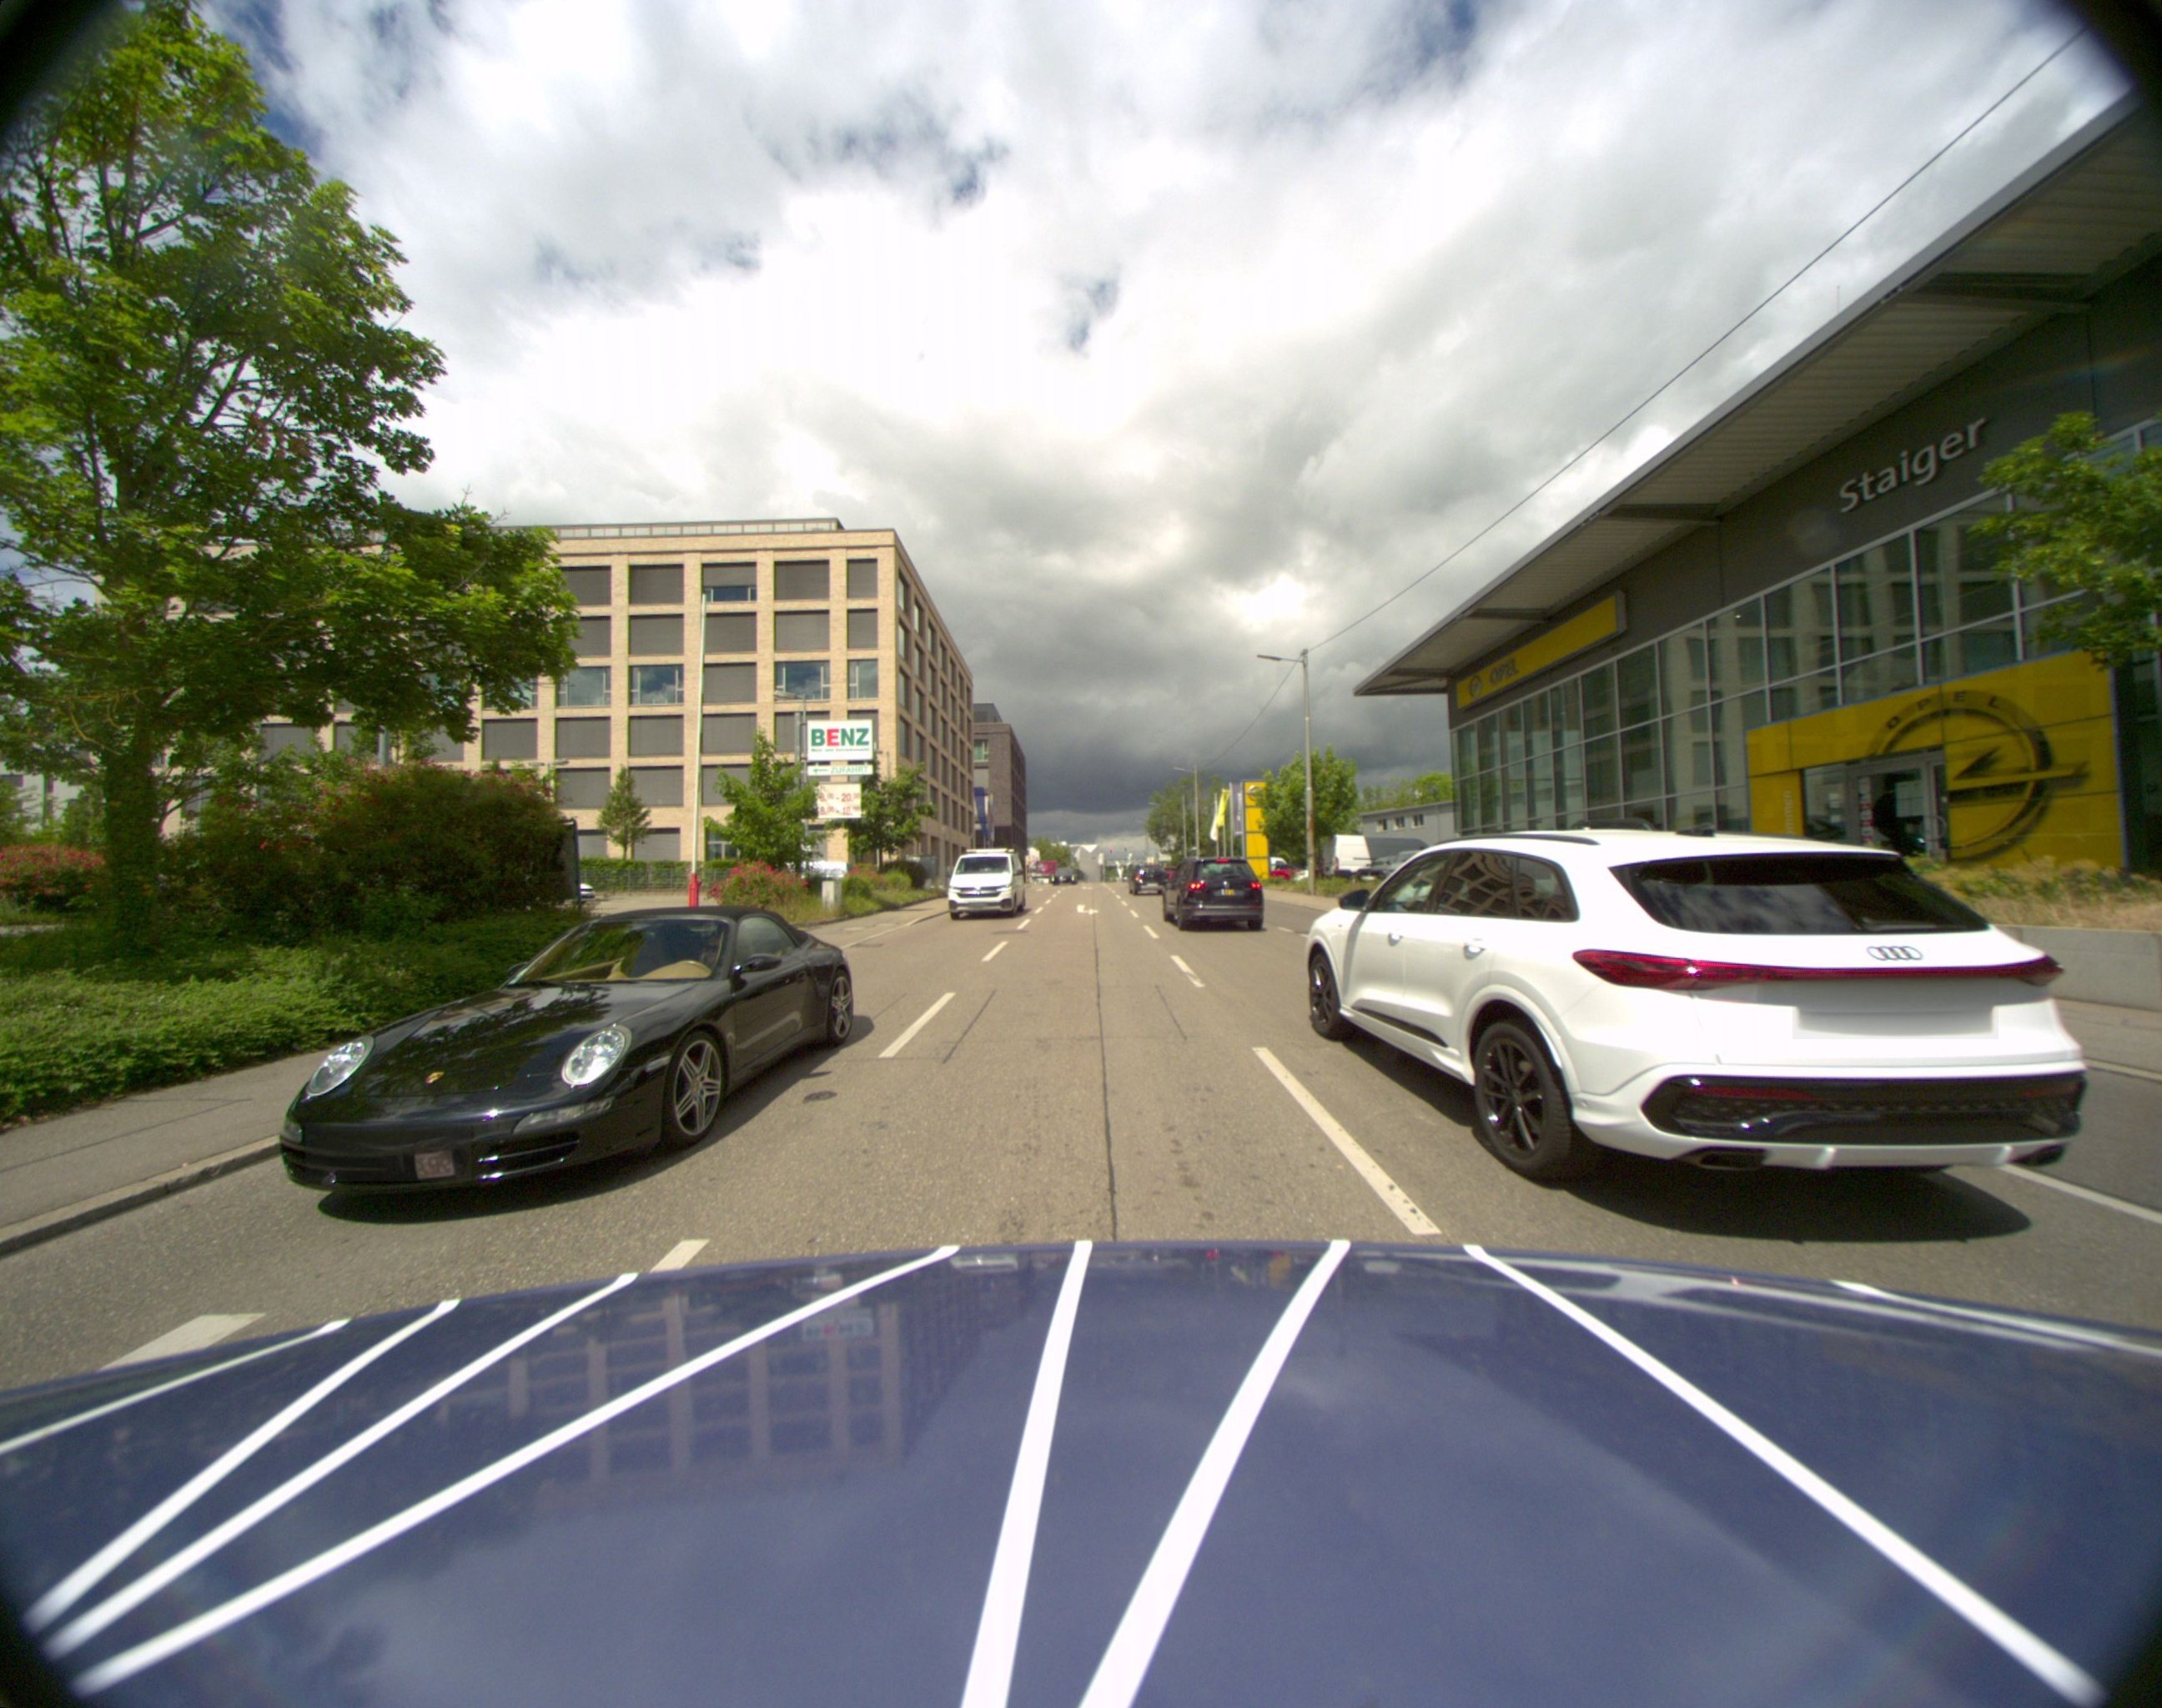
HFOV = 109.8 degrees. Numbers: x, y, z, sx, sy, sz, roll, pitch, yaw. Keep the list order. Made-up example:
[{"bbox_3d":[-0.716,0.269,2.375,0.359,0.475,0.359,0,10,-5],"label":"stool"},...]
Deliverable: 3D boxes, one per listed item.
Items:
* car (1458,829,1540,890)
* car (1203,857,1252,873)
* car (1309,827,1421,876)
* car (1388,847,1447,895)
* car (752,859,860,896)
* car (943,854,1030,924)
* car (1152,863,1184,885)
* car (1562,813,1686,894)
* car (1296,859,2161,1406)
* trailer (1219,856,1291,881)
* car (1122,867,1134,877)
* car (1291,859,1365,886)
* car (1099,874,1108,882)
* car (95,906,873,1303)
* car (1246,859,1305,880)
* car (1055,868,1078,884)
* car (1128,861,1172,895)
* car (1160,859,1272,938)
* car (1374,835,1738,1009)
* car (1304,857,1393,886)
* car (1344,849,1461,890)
[{"bbox_3d":[12.026,0.128,22.090,1.793,1.604,4.116,-1,0,25],"label":"car"},{"bbox_3d":[13.970,1.058,72.703,4.252,1.473,2.095,-1,0,-2],"label":"car"},{"bbox_3d":[13.452,-0.117,36.207,4.531,2.182,2.179,-1,1,-1],"label":"car"},{"bbox_3d":[12.110,0.582,27.351,1.794,1.604,4.116,-1,0,24],"label":"car"},{"bbox_3d":[-12.199,1.029,33.906,4.220,1.567,1.735,-1,0,-4],"label":"car"},{"bbox_3d":[-2.757,0.985,23.330,1.964,1.840,4.645,-3,0,1],"label":"car"},{"bbox_3d":[6.203,1.394,54.540,1.731,1.494,3.753,-1,0,-1],"label":"car"},{"bbox_3d":[12.167,-0.005,17.283,1.817,1.604,4.117,-1,0,29],"label":"car"},{"bbox_3d":[2.854,0.853,4.490,1.924,1.604,4.416,-1,0,1],"label":"car"},{"bbox_3d":[12.984,1.071,56.942,4.835,1.742,2.095,-1,0,-3],"label":"trailer"},{"bbox_3d":[7.539,2.867,122.248,1.731,1.494,3.753,-1,0,-1],"label":"car"},{"bbox_3d":[14.798,1.107,45.626,3.946,1.518,1.561,-1,0,-2],"label":"car"},{"bbox_3d":[4.788,5.152,161.869,1.731,1.494,3.753,-1,0,-1],"label":"car"},{"bbox_3d":[-3.084,1.190,5.398,1.777,1.267,4.569,-3,0,2],"label":"car"},{"bbox_3d":[13.540,1.080,53.053,3.669,1.401,1.815,-1,0,2],"label":"car"},{"bbox_3d":[-1.206,1.878,65.087,1.777,1.267,4.569,-1,0,2],"label":"car"},{"bbox_3d":[3.235,1.110,36.303,1.731,1.494,3.438,-1,0,-1],"label":"car"},{"bbox_3d":[3.017,0.928,17.789,1.797,1.604,4.108,-1,0,-1],"label":"car"},{"bbox_3d":[6.149,0.749,10.838,1.924,1.848,5.199,1,0,0],"label":"car"},{"bbox_3d":[15.246,0.986,43.448,4.413,1.604,1.925,-1,0,-2],"label":"car"},{"bbox_3d":[13.182,0.630,31.270,4.108,1.604,1.797,-1,0,-8],"label":"car"}]
